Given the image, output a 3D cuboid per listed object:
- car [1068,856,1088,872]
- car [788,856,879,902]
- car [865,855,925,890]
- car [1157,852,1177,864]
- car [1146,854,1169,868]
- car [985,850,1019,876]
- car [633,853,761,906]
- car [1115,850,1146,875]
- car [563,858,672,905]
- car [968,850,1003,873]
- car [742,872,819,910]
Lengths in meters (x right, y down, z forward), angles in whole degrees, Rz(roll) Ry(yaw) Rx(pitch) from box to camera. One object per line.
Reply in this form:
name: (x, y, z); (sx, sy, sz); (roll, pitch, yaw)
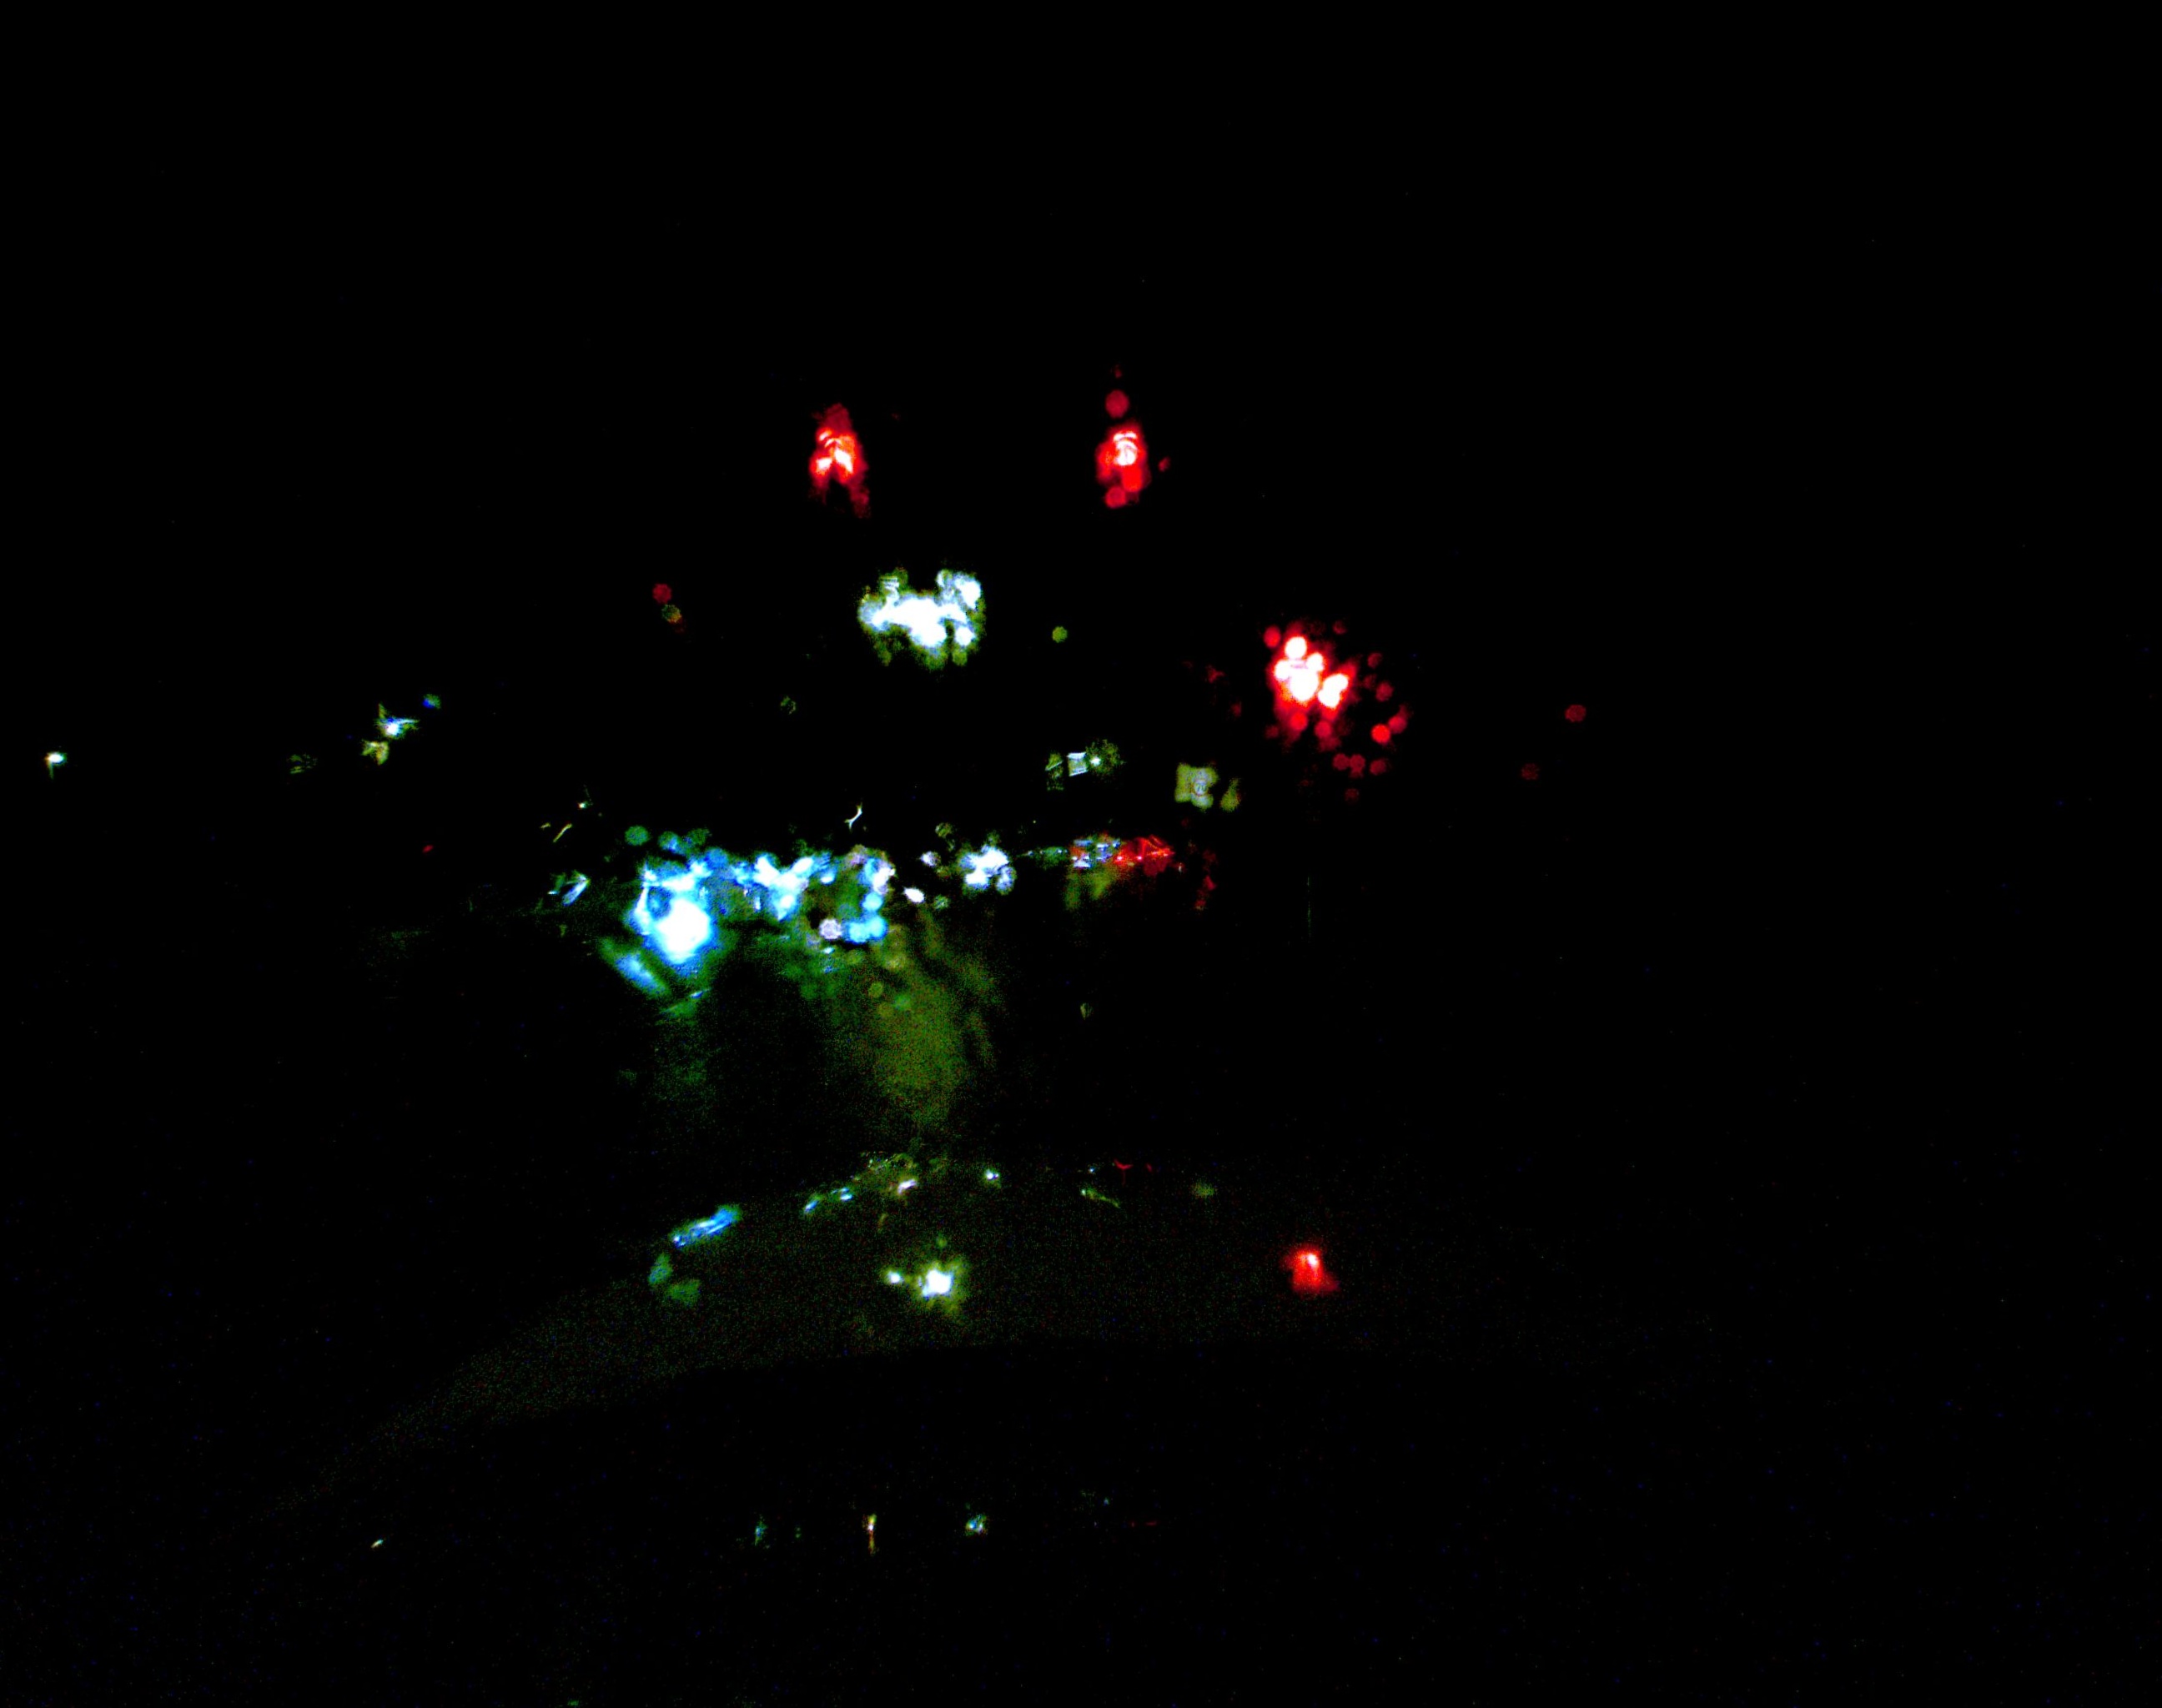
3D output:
car: (-0.268, 1.068, 84.045); (1.700, 1.534, 4.604); (-1, -1, 4)
car: (-9.167, 0.870, 30.596); (1.691, 1.571, 4.716); (-1, 0, 3)
car: (-8.523, 0.831, 37.616); (1.577, 1.526, 3.658); (-1, -1, 6)
car: (10.299, 0.508, 98.277); (2.099, 1.339, 4.296); (-1, -1, 2)
car: (8.028, 0.766, 85.851); (2.095, 1.439, 4.002); (-1, -1, 2)
car: (-5.599, 0.644, 58.096); (1.710, 1.703, 4.146); (-1, -1, 3)
car: (-12.768, 0.788, 27.492); (1.785, 1.571, 4.916); (-1, 0, 2)
car: (3.393, 0.622, 56.062); (1.986, 1.611, 4.104); (-1, -1, 2)
car: (-20.475, 1.164, 36.002); (4.017, 1.831, 1.703); (-2, 0, -35)
car: (-7.656, 0.631, 65.752); (1.984, 1.720, 4.005); (-1, -1, 5)
car: (-12.494, 1.509, 34.068); (1.661, 1.454, 3.730); (-1, -1, 3)
